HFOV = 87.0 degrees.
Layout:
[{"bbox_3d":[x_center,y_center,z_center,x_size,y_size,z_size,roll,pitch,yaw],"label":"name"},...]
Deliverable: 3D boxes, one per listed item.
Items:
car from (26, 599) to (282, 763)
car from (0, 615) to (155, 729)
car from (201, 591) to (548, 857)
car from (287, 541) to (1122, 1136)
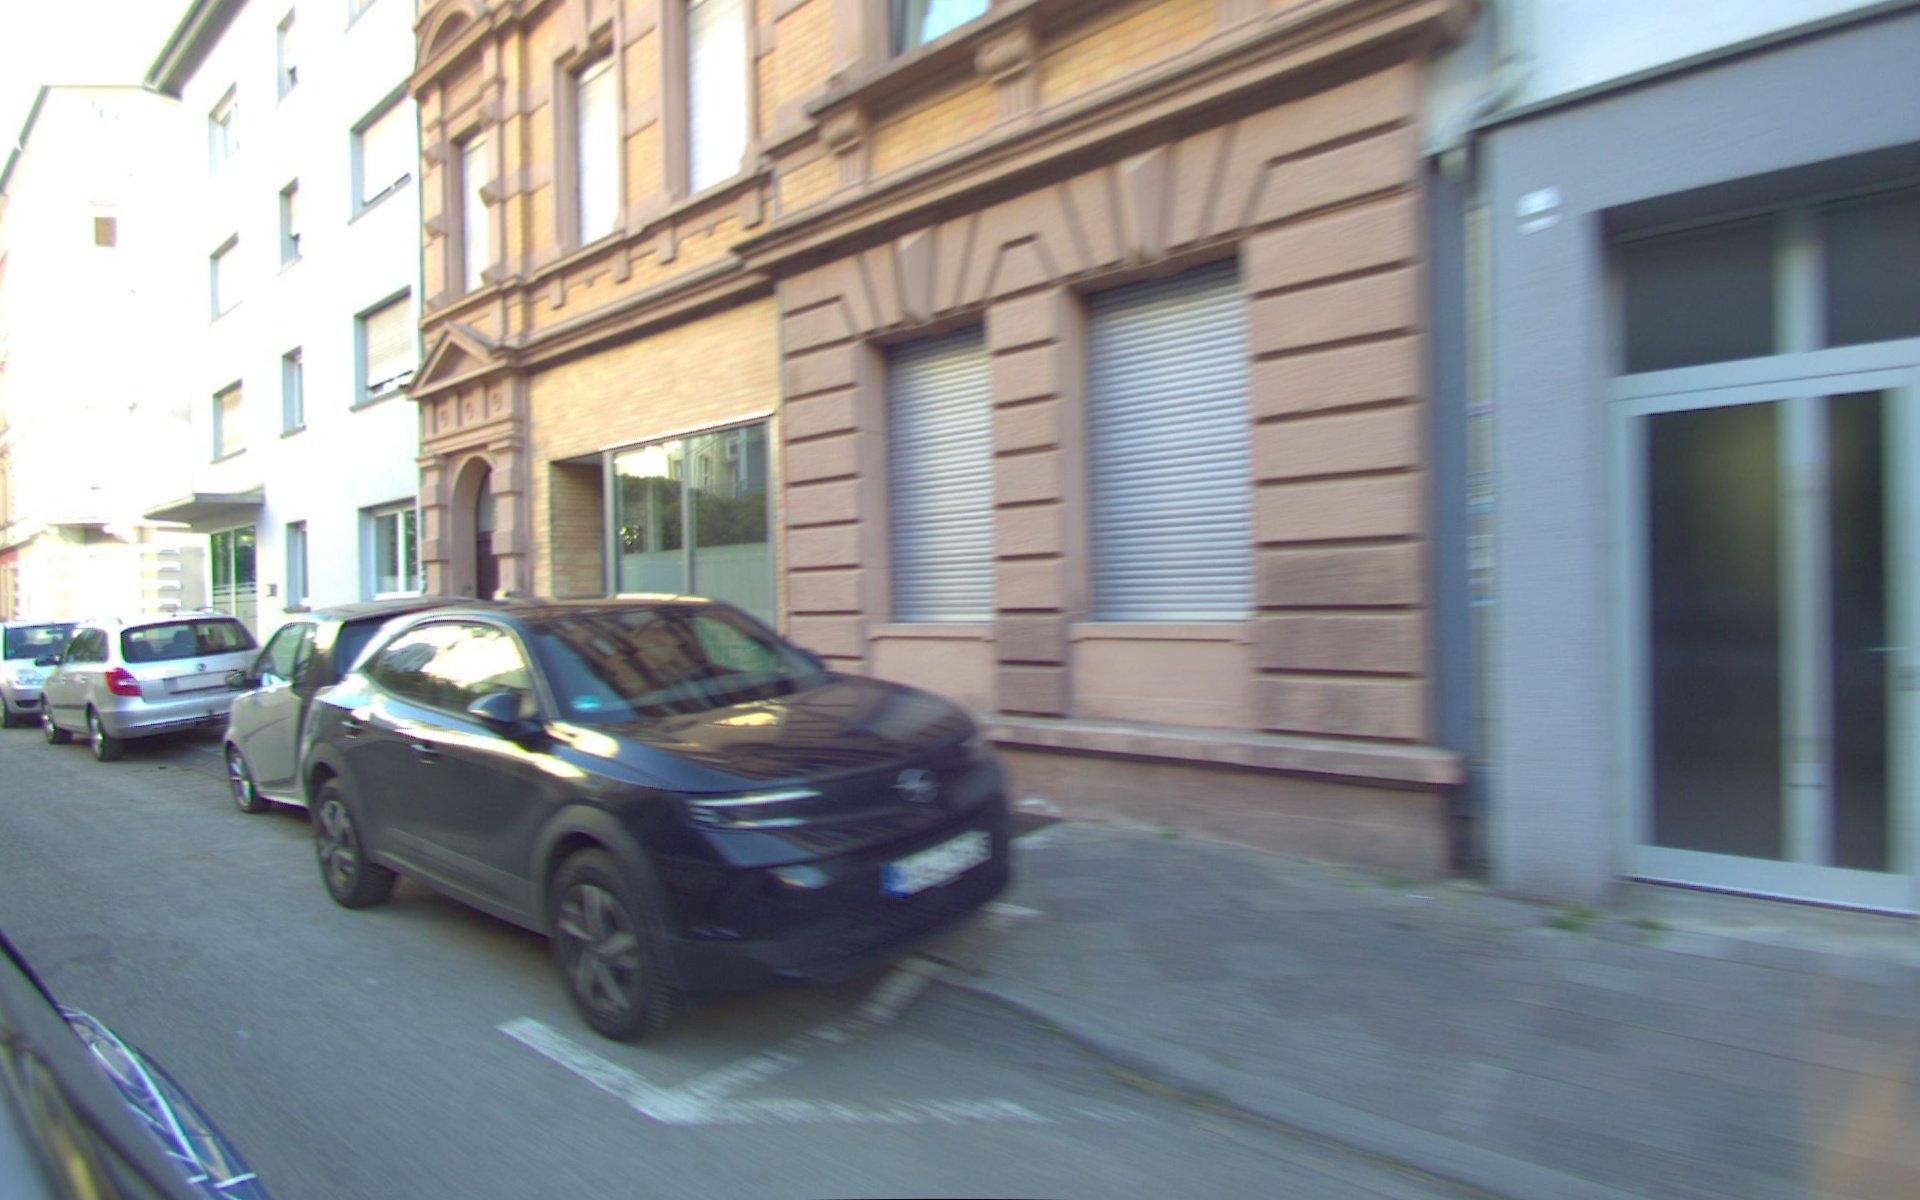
[{"bbox_3d":[-9.334,0.826,11.638,3.594,1.519,1.540,-1,2,40],"label":"car"},{"bbox_3d":[-13.382,0.984,14.941,3.551,1.441,1.616,-1,0,39],"label":"car"},{"bbox_3d":[-4.430,0.770,7.544,2.791,1.600,1.382,-1,-1,40],"label":"car"},{"bbox_3d":[-1.444,0.667,4.697,4.011,1.611,1.723,-1,0,40],"label":"car"}]
